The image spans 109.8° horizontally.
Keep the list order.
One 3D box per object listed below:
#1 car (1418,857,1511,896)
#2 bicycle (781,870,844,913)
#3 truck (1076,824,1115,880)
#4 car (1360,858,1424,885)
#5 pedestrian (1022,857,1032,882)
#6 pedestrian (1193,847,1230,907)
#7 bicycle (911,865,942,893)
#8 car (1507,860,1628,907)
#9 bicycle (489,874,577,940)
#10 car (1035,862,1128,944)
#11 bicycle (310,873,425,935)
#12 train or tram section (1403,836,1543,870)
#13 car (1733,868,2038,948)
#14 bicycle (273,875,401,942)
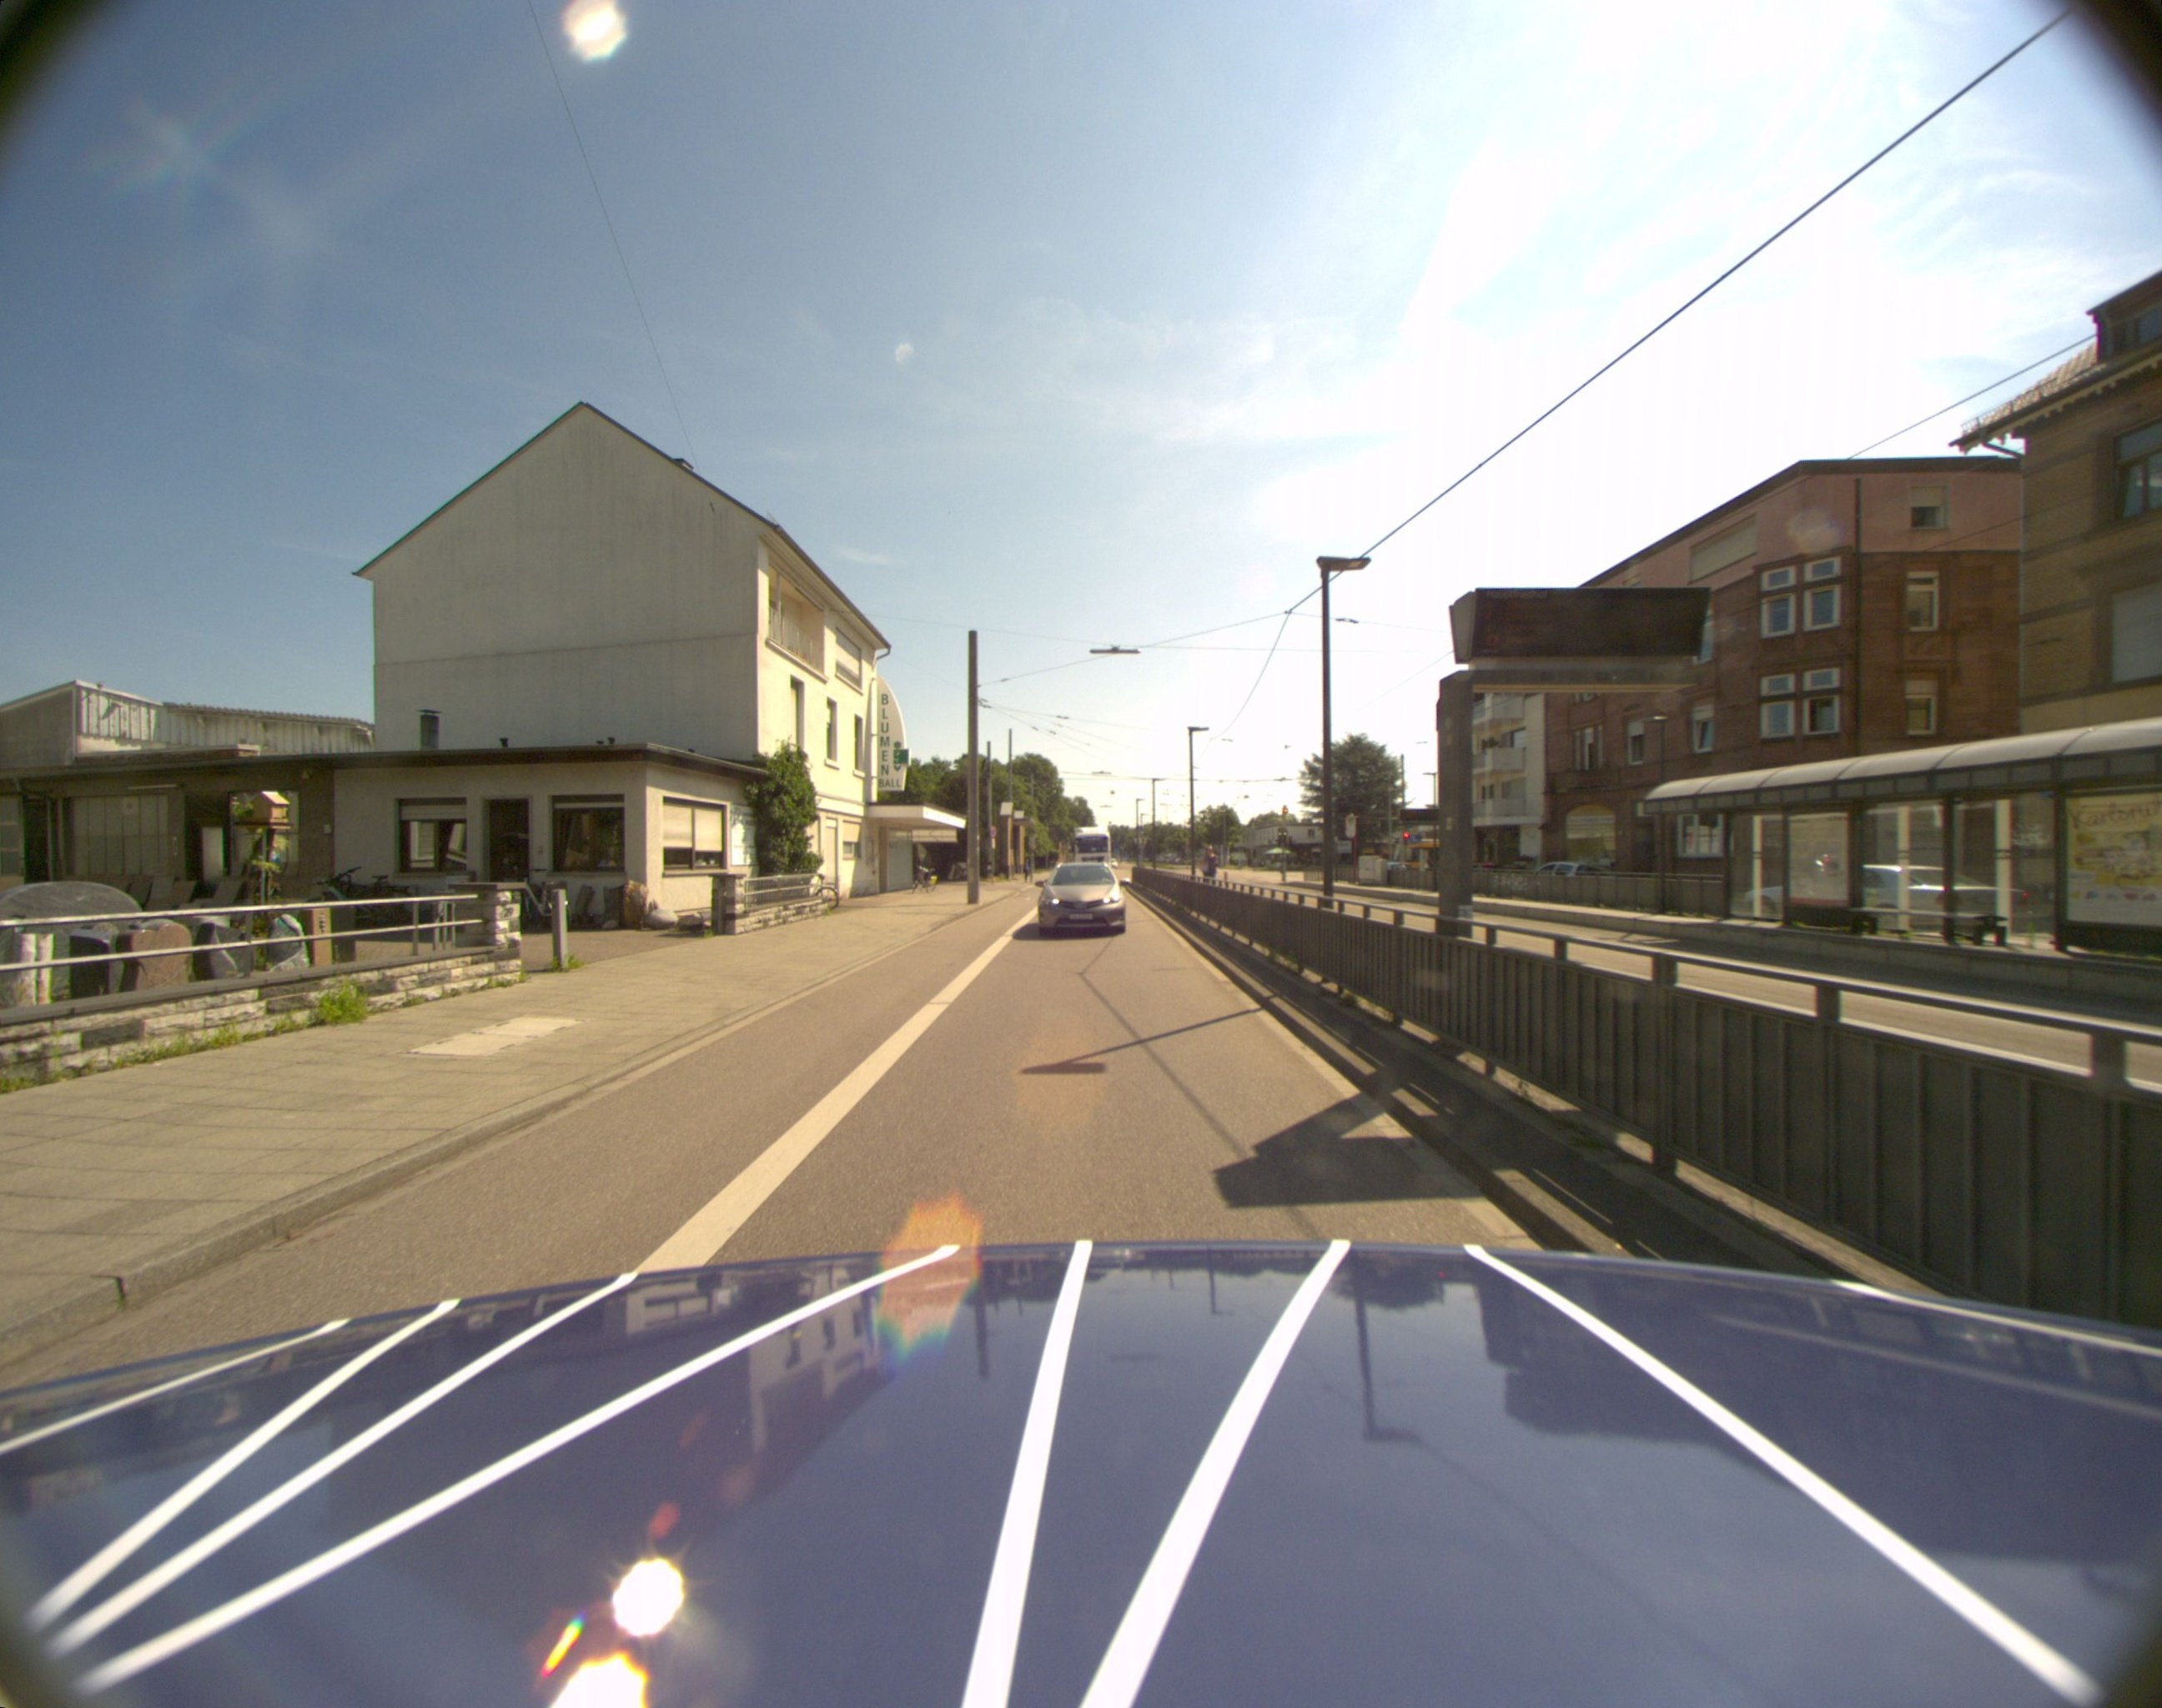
[{"bbox_3d":[16.360,0.939,32.678,1.716,1.507,4.473,-2,-1,0],"label":"car"},{"bbox_3d":[-7.206,1.005,20.426,1.530,1.051,0.398,3,1,2],"label":"bicycle"},{"bbox_3d":[1.040,-0.166,55.213,2.657,3.772,7.863,0,0,1],"label":"truck"},{"bbox_3d":[16.607,0.908,40.753,1.716,1.236,4.079,-2,0,0],"label":"car"},{"bbox_3d":[-3.617,1.049,51.019,0.499,1.616,0.500,2,1,8],"label":"pedestrian"},{"bbox_3d":[4.171,0.713,24.298,0.983,1.848,1.237,0,0,1],"label":"pedestrian"},{"bbox_3d":[-6.409,1.034,31.621,0.511,1.127,1.693,0,0,18],"label":"bicycle"},{"bbox_3d":[16.243,0.934,25.618,1.630,1.460,3.866,-1,-1,1],"label":"car"},{"bbox_3d":[-9.824,0.923,13.610,1.686,1.104,0.515,1,0,26],"label":"bicycle"},{"bbox_3d":[0.043,0.946,16.379,1.695,1.440,4.481,-1,0,1],"label":"car"},{"bbox_3d":[-13.261,0.919,14.130,1.689,1.104,0.512,1,0,2],"label":"bicycle"},{"bbox_3d":[41.531,-0.067,80.806,13.325,3.460,2.689,0,1,3],"label":"train or tram section"},{"bbox_3d":[16.518,1.017,16.030,1.635,1.355,4.520,0,0,0],"label":"car"},{"bbox_3d":[-12.778,0.922,13.069,1.796,1.104,0.512,1,0,5],"label":"bicycle"}]
